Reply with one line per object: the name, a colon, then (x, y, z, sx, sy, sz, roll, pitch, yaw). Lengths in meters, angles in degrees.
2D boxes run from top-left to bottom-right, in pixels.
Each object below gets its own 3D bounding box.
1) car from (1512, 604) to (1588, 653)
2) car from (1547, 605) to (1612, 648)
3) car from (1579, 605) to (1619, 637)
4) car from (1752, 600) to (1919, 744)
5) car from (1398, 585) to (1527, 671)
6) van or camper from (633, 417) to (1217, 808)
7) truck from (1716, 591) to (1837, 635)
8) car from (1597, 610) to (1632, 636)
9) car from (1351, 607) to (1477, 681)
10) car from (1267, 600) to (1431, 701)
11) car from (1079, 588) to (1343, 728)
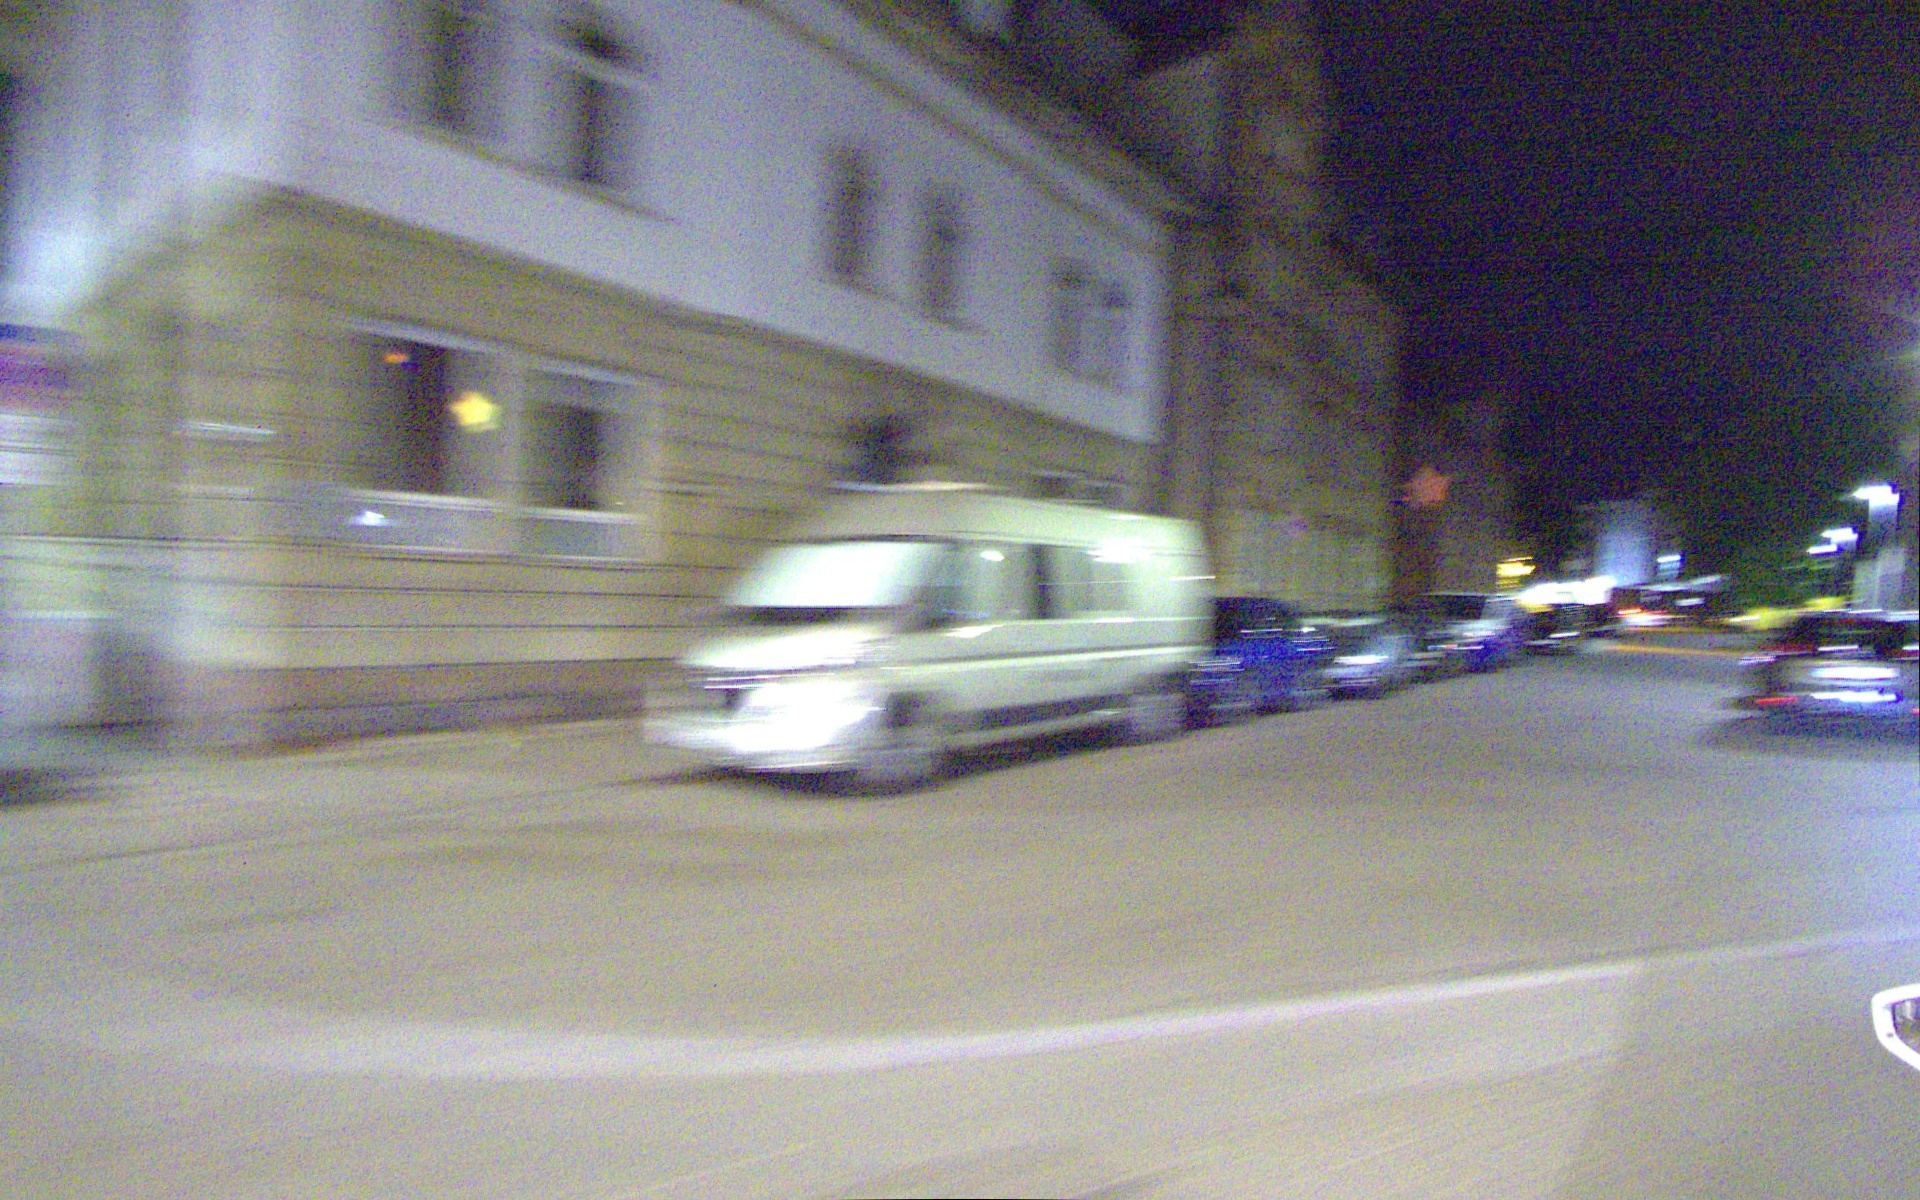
car: (20.896, 1.003, 35.512, 1.684, 1.530, 4.082, 4, 1, 38)
car: (24.742, 1.054, 40.039, 1.656, 1.587, 4.087, 2, 0, 39)
car: (38.423, 1.278, 60.361, 1.617, 1.784, 3.946, 2, 0, 38)
car: (11.848, 0.860, 13.353, 1.863, 1.624, 4.086, 1, -1, 41)
car: (13.143, 0.679, 26.117, 1.969, 1.981, 4.784, 2, 1, 39)
van or camper: (0.171, 0.137, 9.705, 2.132, 2.569, 6.199, 0, -1, 39)
truck: (59.837, 0.913, 73.793, 6.690, 2.883, 1.992, 3, 2, 37)
car: (42.349, 1.476, 64.960, 1.587, 1.536, 3.792, 2, 0, 38)
car: (10.016, 0.909, 22.010, 1.669, 1.417, 4.064, 2, 1, 36)
car: (7.089, 0.806, 17.984, 1.813, 1.527, 4.729, 2, 0, 33)
car: (3.607, 0.691, 13.875, 1.869, 1.612, 4.354, 1, 0, 39)
